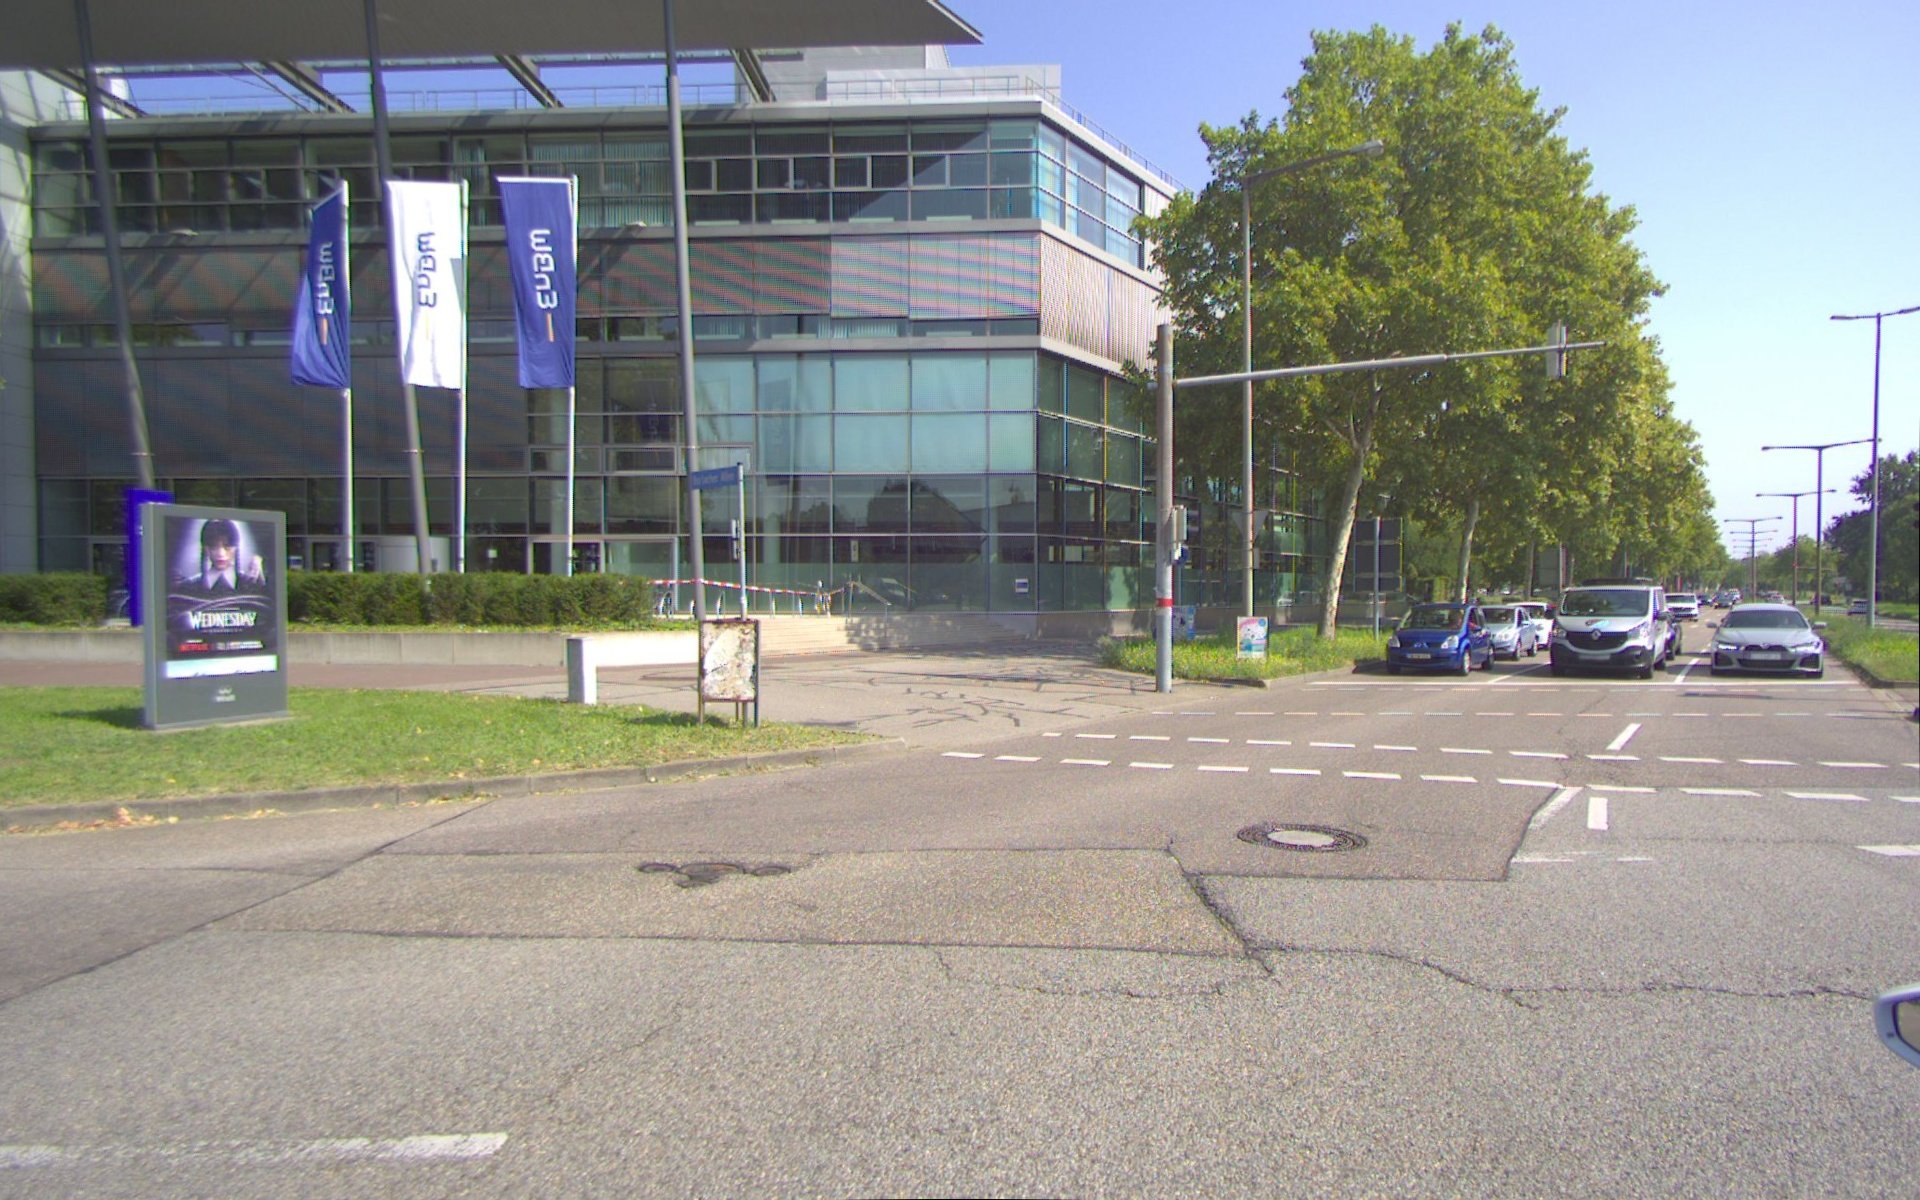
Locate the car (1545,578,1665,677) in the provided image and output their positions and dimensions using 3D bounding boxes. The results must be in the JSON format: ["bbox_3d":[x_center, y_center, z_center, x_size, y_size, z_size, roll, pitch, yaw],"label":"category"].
[{"bbox_3d":[14.709,0.494,22.770,1.903,1.984,5.192,1,1,37],"label":"car"}]

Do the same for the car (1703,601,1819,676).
[{"bbox_3d":[17.537,0.783,22.116,1.812,1.462,4.587,-2,-1,37],"label":"car"}]

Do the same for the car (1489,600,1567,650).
[{"bbox_3d":[18.904,0.806,33.372,1.648,1.555,3.713,-2,-1,39],"label":"car"}]

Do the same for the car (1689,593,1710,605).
[{"bbox_3d":[101.801,-0.097,138.256,1.819,1.626,4.601,1,0,31],"label":"car"}]

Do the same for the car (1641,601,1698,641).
[{"bbox_3d":[29.217,0.850,41.329,1.648,1.555,3.713,-2,-1,39],"label":"car"}]

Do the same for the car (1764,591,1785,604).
[{"bbox_3d":[116.402,-0.346,143.558,1.973,1.724,3.975,0,0,44],"label":"car"}]

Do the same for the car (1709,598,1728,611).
[{"bbox_3d":[94.656,0.598,125.333,1.823,1.509,4.623,-2,-1,39],"label":"car"}]

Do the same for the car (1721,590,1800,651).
[{"bbox_3d":[22.090,0.638,27.795,1.594,1.555,4.085,-2,-3,38],"label":"car"}]

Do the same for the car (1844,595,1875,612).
[{"bbox_3d":[88.552,0.356,98.886,1.969,1.676,3.983,0,0,38],"label":"car"}]

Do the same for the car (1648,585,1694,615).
[{"bbox_3d":[49.589,-0.031,70.169,1.898,1.986,5.182,-2,0,27],"label":"car"}]

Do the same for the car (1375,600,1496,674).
[{"bbox_3d":[10.993,0.819,23.101,1.648,1.555,3.713,-2,-1,39],"label":"car"}]

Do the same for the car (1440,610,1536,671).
[{"bbox_3d":[14.821,1.085,28.128,1.648,1.555,3.713,-2,-1,39],"label":"car"}]
